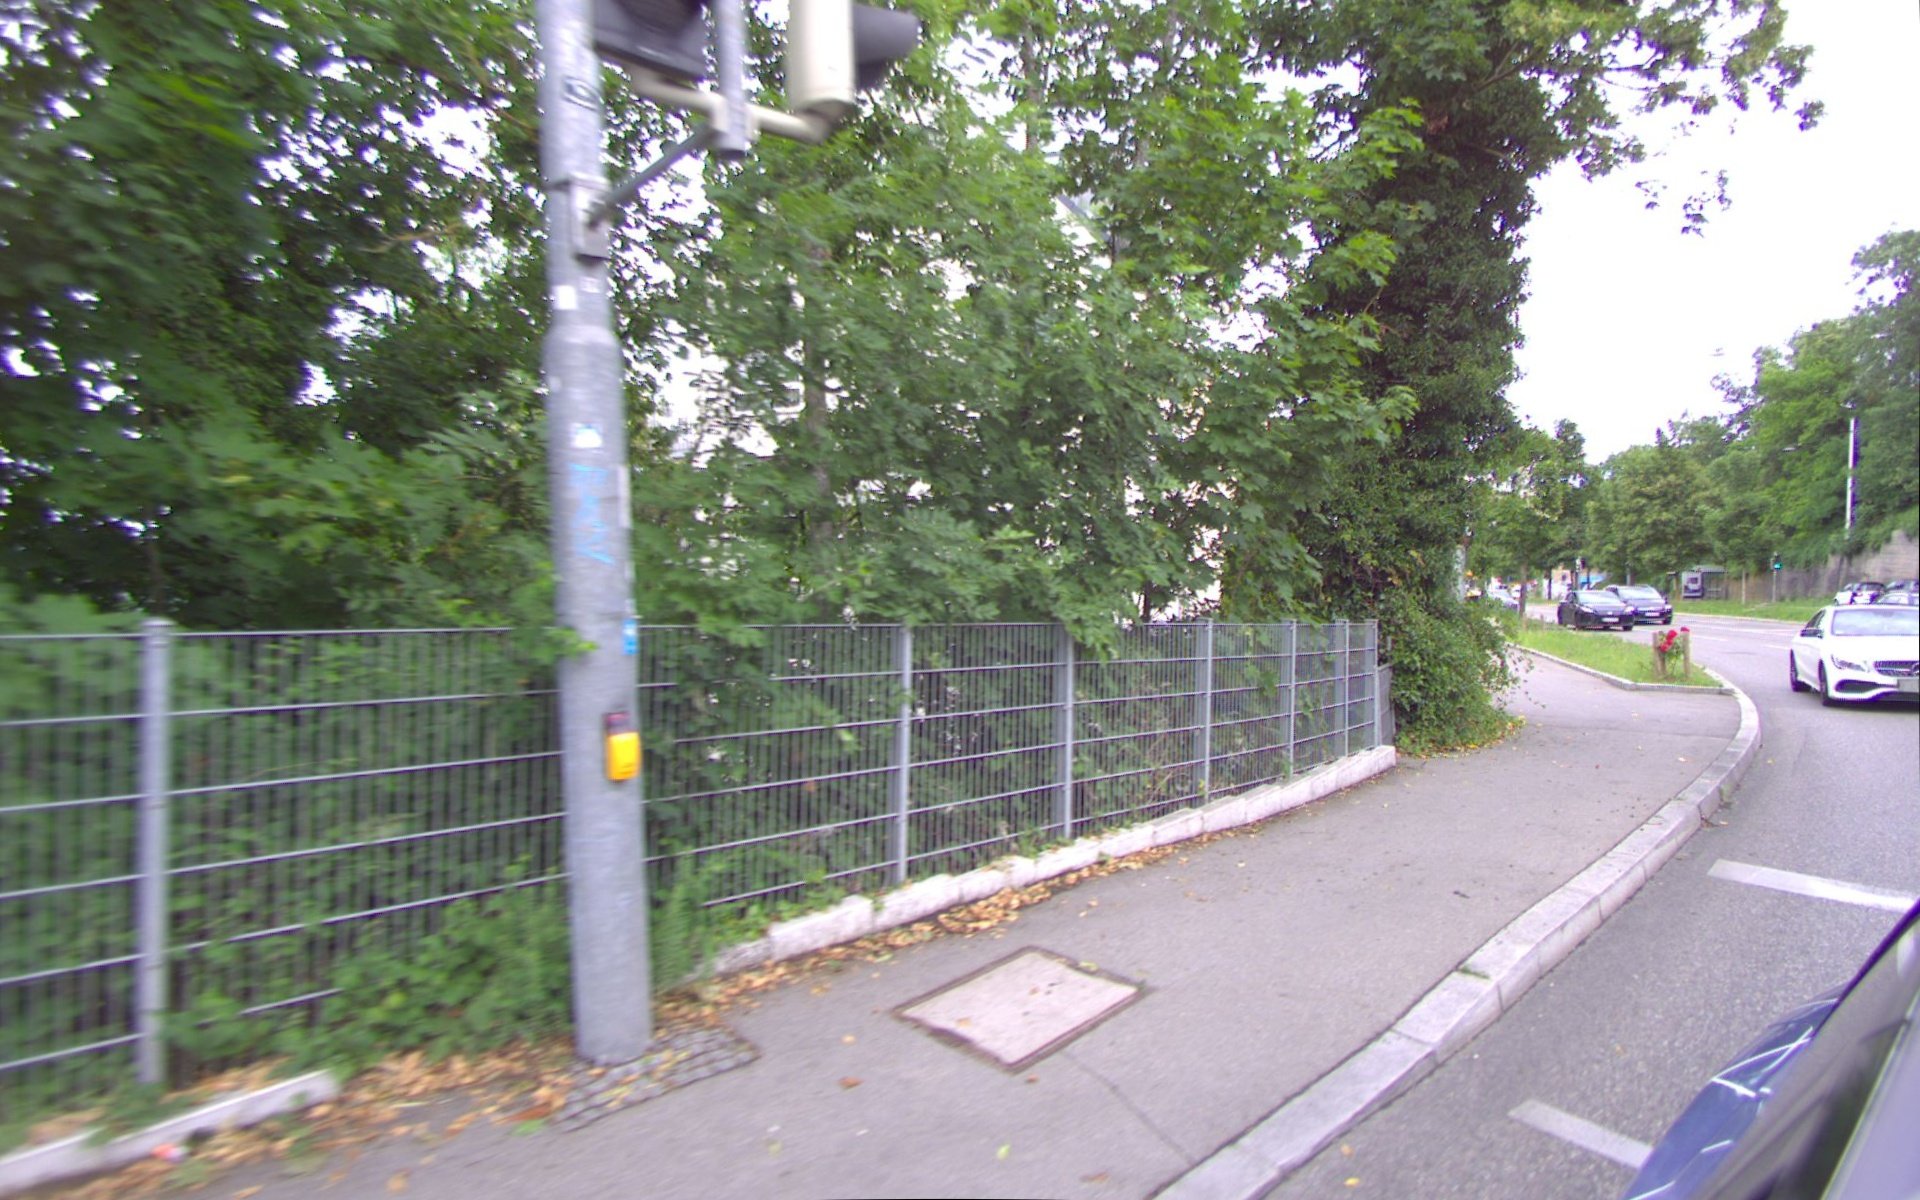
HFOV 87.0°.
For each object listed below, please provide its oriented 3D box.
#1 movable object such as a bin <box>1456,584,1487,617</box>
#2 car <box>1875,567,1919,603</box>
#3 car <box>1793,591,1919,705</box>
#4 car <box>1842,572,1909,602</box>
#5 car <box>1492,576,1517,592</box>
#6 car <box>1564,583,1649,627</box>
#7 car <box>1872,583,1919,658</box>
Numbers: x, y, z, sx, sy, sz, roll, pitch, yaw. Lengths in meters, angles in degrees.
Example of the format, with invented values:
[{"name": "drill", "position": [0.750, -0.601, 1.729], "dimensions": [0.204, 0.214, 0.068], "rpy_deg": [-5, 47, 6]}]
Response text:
[{"name": "movable object such as a bin", "position": [24.215, 0.004, 47.896], "dimensions": [1.075, 1.500, 1.527], "rpy_deg": [-1, 0, 20]}, {"name": "car", "position": [47.611, -0.771, 50.135], "dimensions": [1.953, 1.677, 4.498], "rpy_deg": [-2, 0, 23]}, {"name": "car", "position": [13.543, 0.612, 14.645], "dimensions": [1.805, 1.416, 3.954], "rpy_deg": [-1, 0, 33]}, {"name": "car", "position": [49.472, -0.699, 54.761], "dimensions": [1.766, 1.517, 3.073], "rpy_deg": [-1, 0, 24]}, {"name": "car", "position": [67.782, -1.985, 126.062], "dimensions": [1.920, 1.982, 4.991], "rpy_deg": [0, 0, 19]}, {"name": "car", "position": [24.588, 0.177, 38.661], "dimensions": [1.755, 1.561, 3.976], "rpy_deg": [-2, 0, 19]}, {"name": "car", "position": [20.505, 0.391, 20.453], "dimensions": [1.898, 1.500, 4.360], "rpy_deg": [-2, 0, 26]}]
